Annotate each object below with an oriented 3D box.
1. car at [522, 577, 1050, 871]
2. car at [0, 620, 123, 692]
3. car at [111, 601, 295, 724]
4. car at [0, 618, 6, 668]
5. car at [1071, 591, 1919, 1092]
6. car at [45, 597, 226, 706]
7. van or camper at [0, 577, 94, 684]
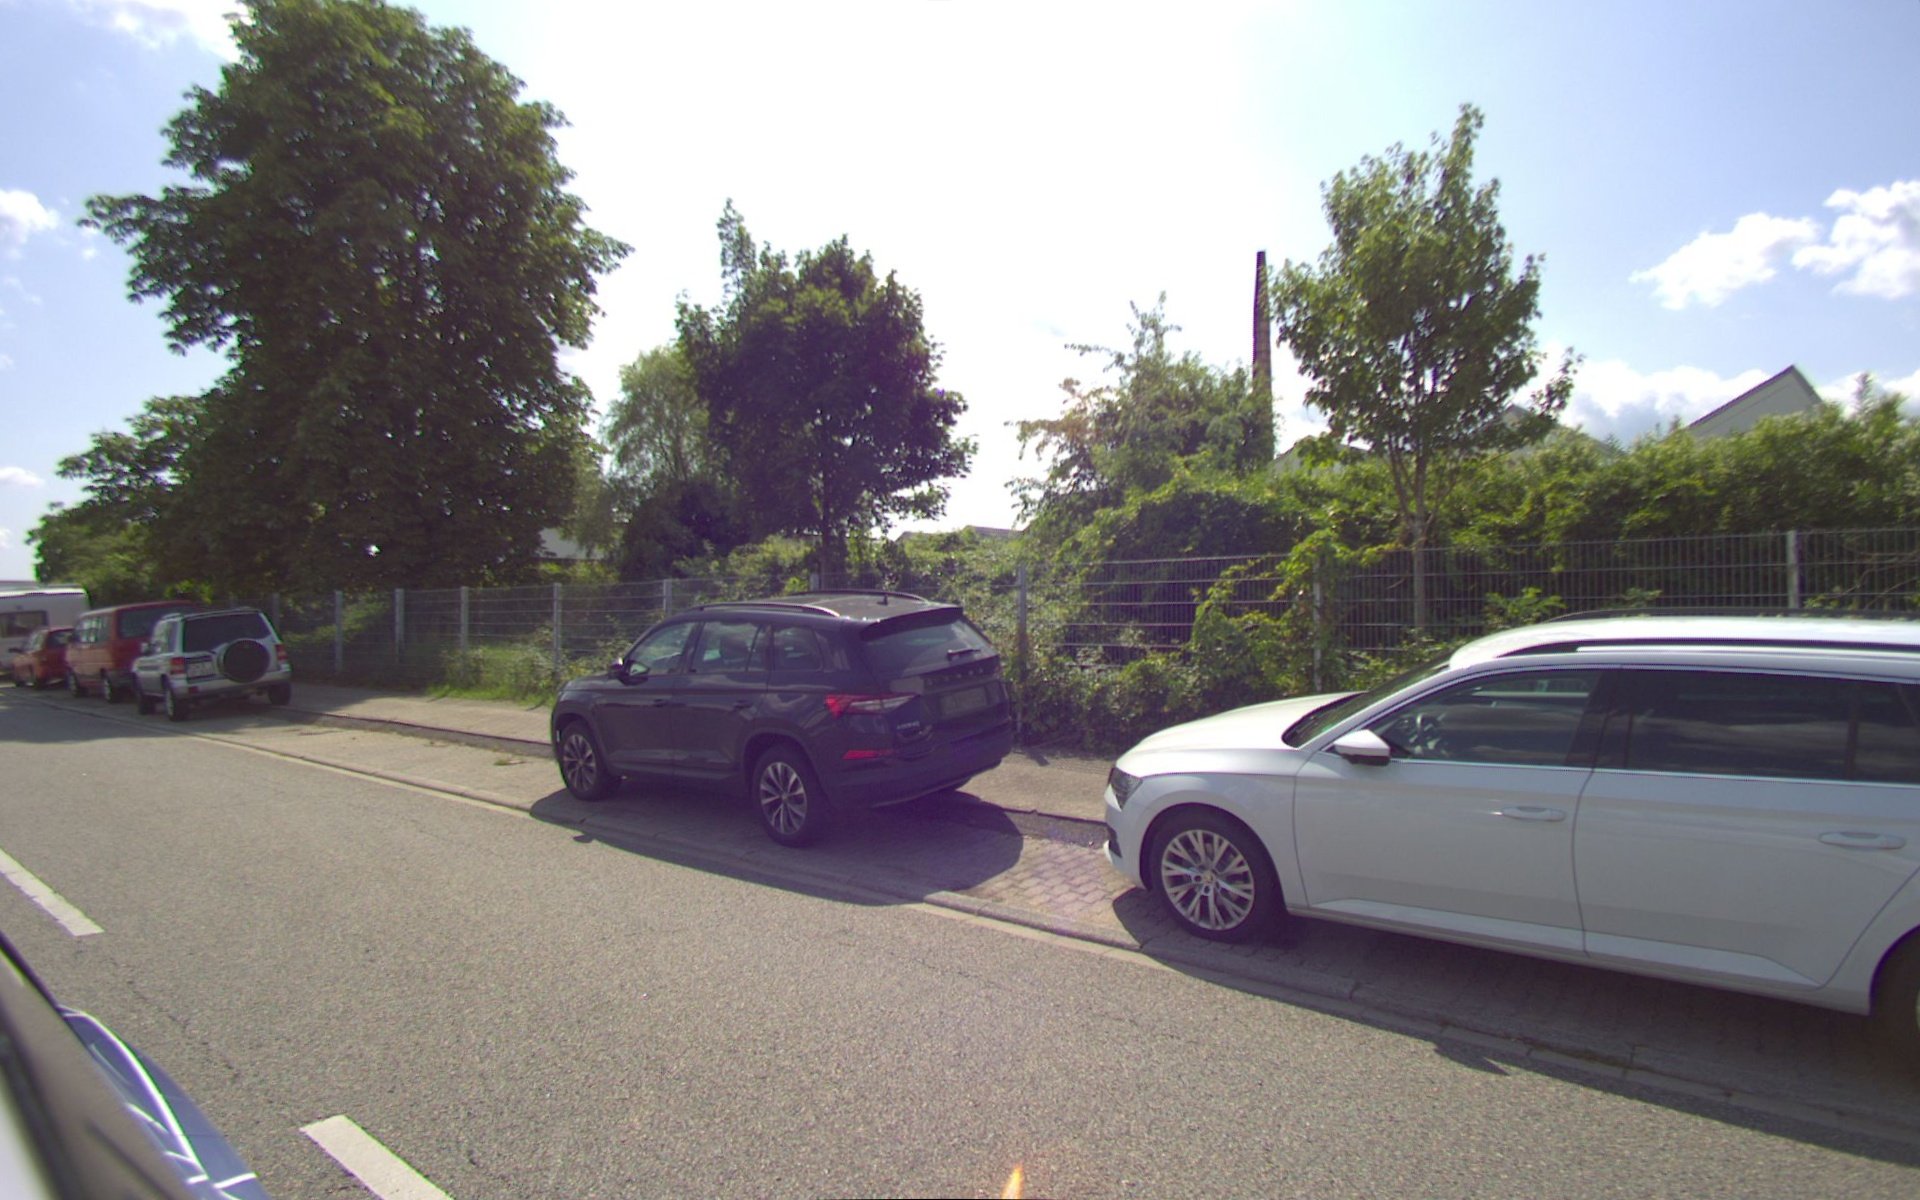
[{"bbox_3d":[-1.642,0.781,8.225,4.632,1.758,1.594,-1,1,40],"label":"car"},{"bbox_3d":[-22.738,1.350,25.513,4.263,1.543,1.609,-1,3,39],"label":"car"},{"bbox_3d":[-13.182,1.007,17.563,3.824,1.815,1.683,-1,2,41],"label":"car"},{"bbox_3d":[-34.771,1.540,35.008,4.435,1.704,1.669,-1,3,36],"label":"car"},{"bbox_3d":[2.960,0.799,4.452,4.782,1.607,1.683,-1,-2,39],"label":"car"},{"bbox_3d":[-17.908,1.025,21.905,4.952,1.968,1.881,-1,4,39],"label":"car"},{"bbox_3d":[-28.218,0.859,30.065,6.822,2.824,2.242,-1,3,37],"label":"van or camper"}]
